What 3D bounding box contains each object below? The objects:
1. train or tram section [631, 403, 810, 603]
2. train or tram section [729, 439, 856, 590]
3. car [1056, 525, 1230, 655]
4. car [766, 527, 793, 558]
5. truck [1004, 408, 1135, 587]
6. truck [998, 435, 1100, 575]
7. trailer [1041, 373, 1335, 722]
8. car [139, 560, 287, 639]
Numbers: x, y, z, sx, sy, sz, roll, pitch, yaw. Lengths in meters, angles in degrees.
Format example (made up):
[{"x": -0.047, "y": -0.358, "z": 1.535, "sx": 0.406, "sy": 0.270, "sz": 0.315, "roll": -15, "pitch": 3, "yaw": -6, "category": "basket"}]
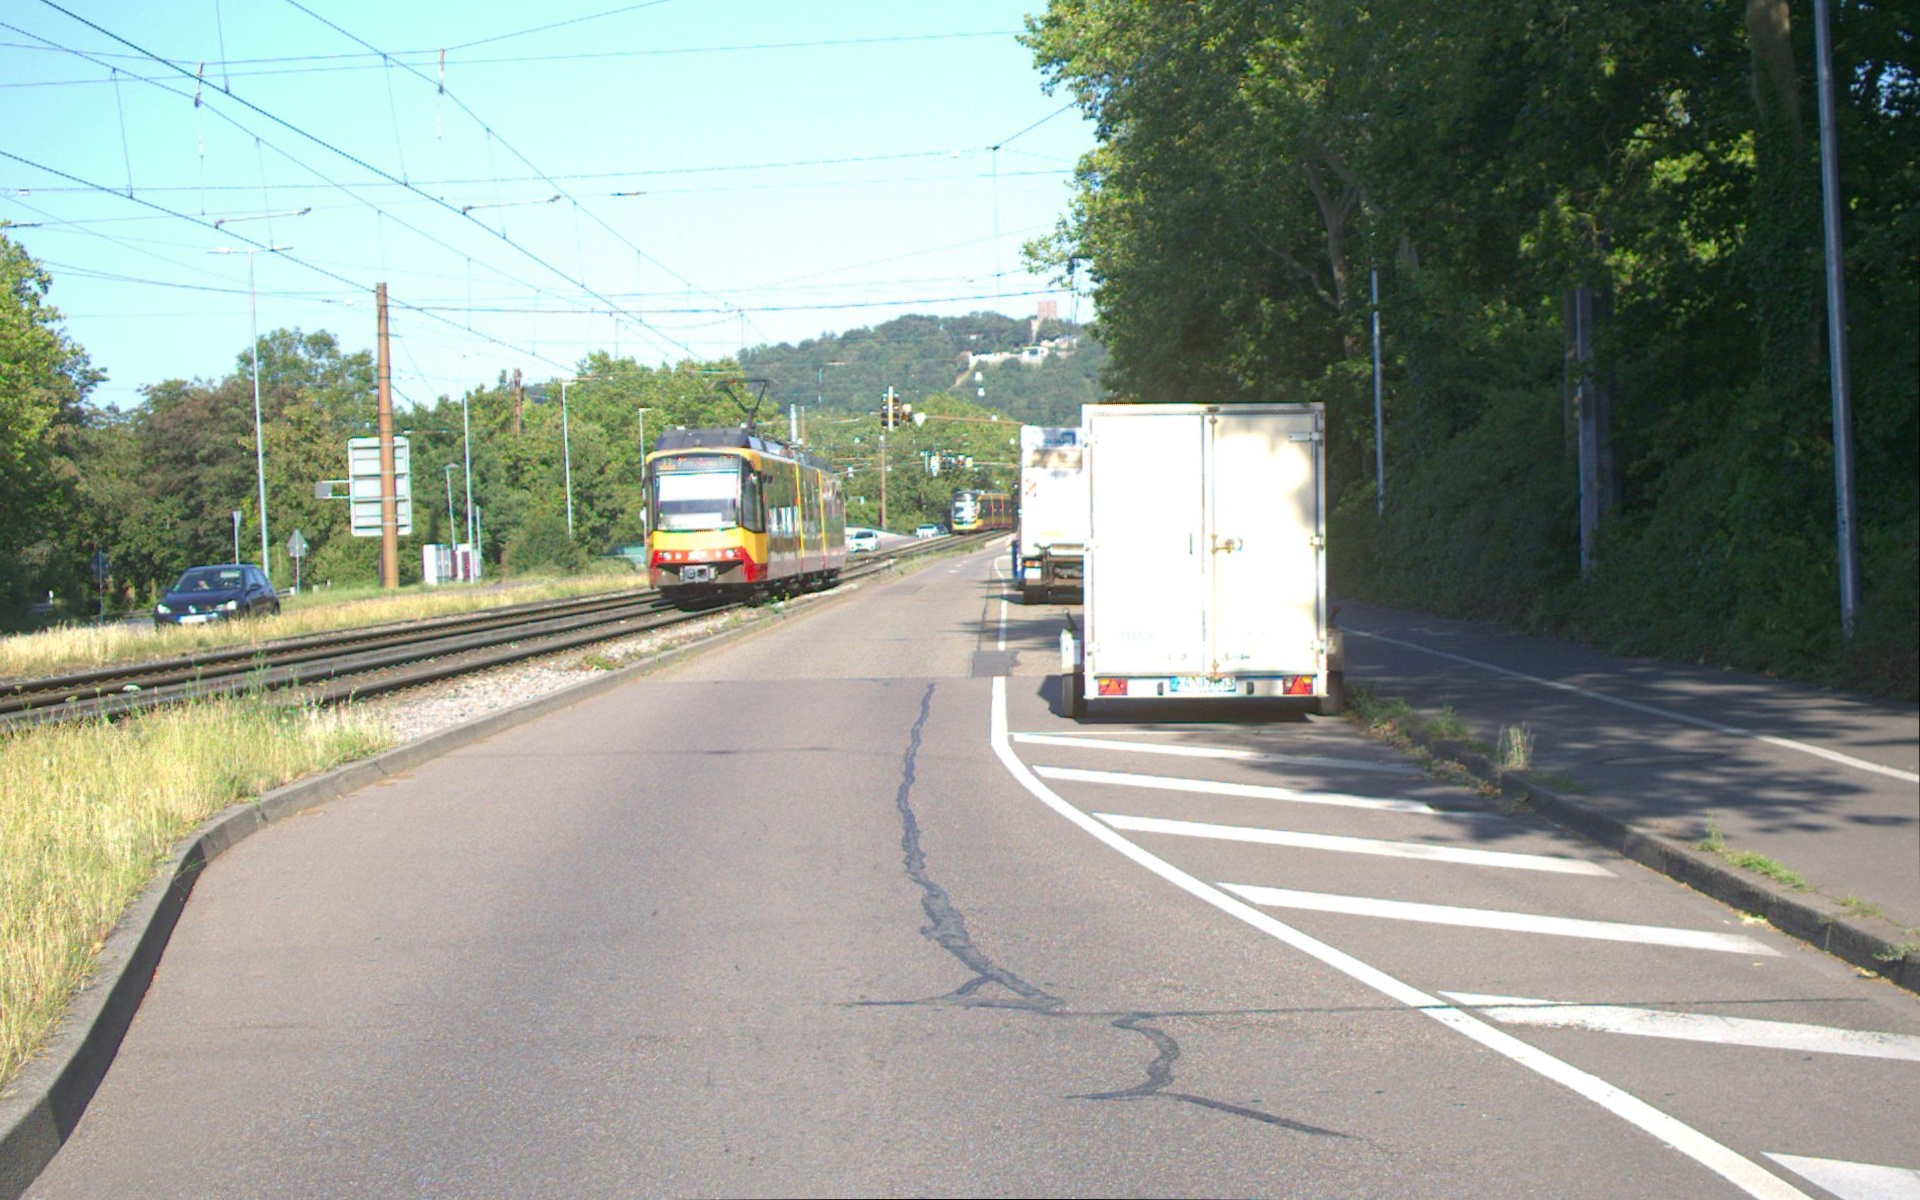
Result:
[{"x": -5.339, "y": -2.190, "z": 79.136, "sx": 2.721, "sy": 4.077, "sz": 13.615, "roll": -3, "pitch": 1, "yaw": 1, "category": "train or tram section"}, {"x": -4.840, "y": -2.523, "z": 101.880, "sx": 2.719, "sy": 4.075, "sz": 12.813, "roll": -3, "pitch": 1, "yaw": 1, "category": "train or tram section"}, {"x": 2.113, "y": -0.153, "z": 40.741, "sx": 1.808, "sy": 1.452, "sz": 4.166, "roll": 0, "pitch": 1, "yaw": 0, "category": "car"}, {"x": -11.889, "y": -3.768, "z": 226.508, "sx": 1.723, "sy": 2.007, "sz": 4.000, "roll": 0, "pitch": 0, "yaw": -2, "category": "car"}, {"x": 2.380, "y": -2.280, "z": 77.856, "sx": 2.742, "sy": 3.770, "sz": 10.090, "roll": 0, "pitch": 1, "yaw": 1, "category": "truck"}, {"x": 2.442, "y": -2.652, "z": 97.065, "sx": 2.717, "sy": 3.770, "sz": 9.762, "roll": 0, "pitch": 1, "yaw": 1, "category": "truck"}, {"x": 1.979, "y": -0.470, "z": 29.842, "sx": 2.251, "sy": 2.685, "sz": 5.946, "roll": -1, "pitch": 1, "yaw": 4, "category": "trailer"}, {"x": -14.794, "y": -0.035, "z": 68.289, "sx": 1.773, "sy": 1.420, "sz": 4.489, "roll": -2, "pitch": 1, "yaw": 2, "category": "car"}]
